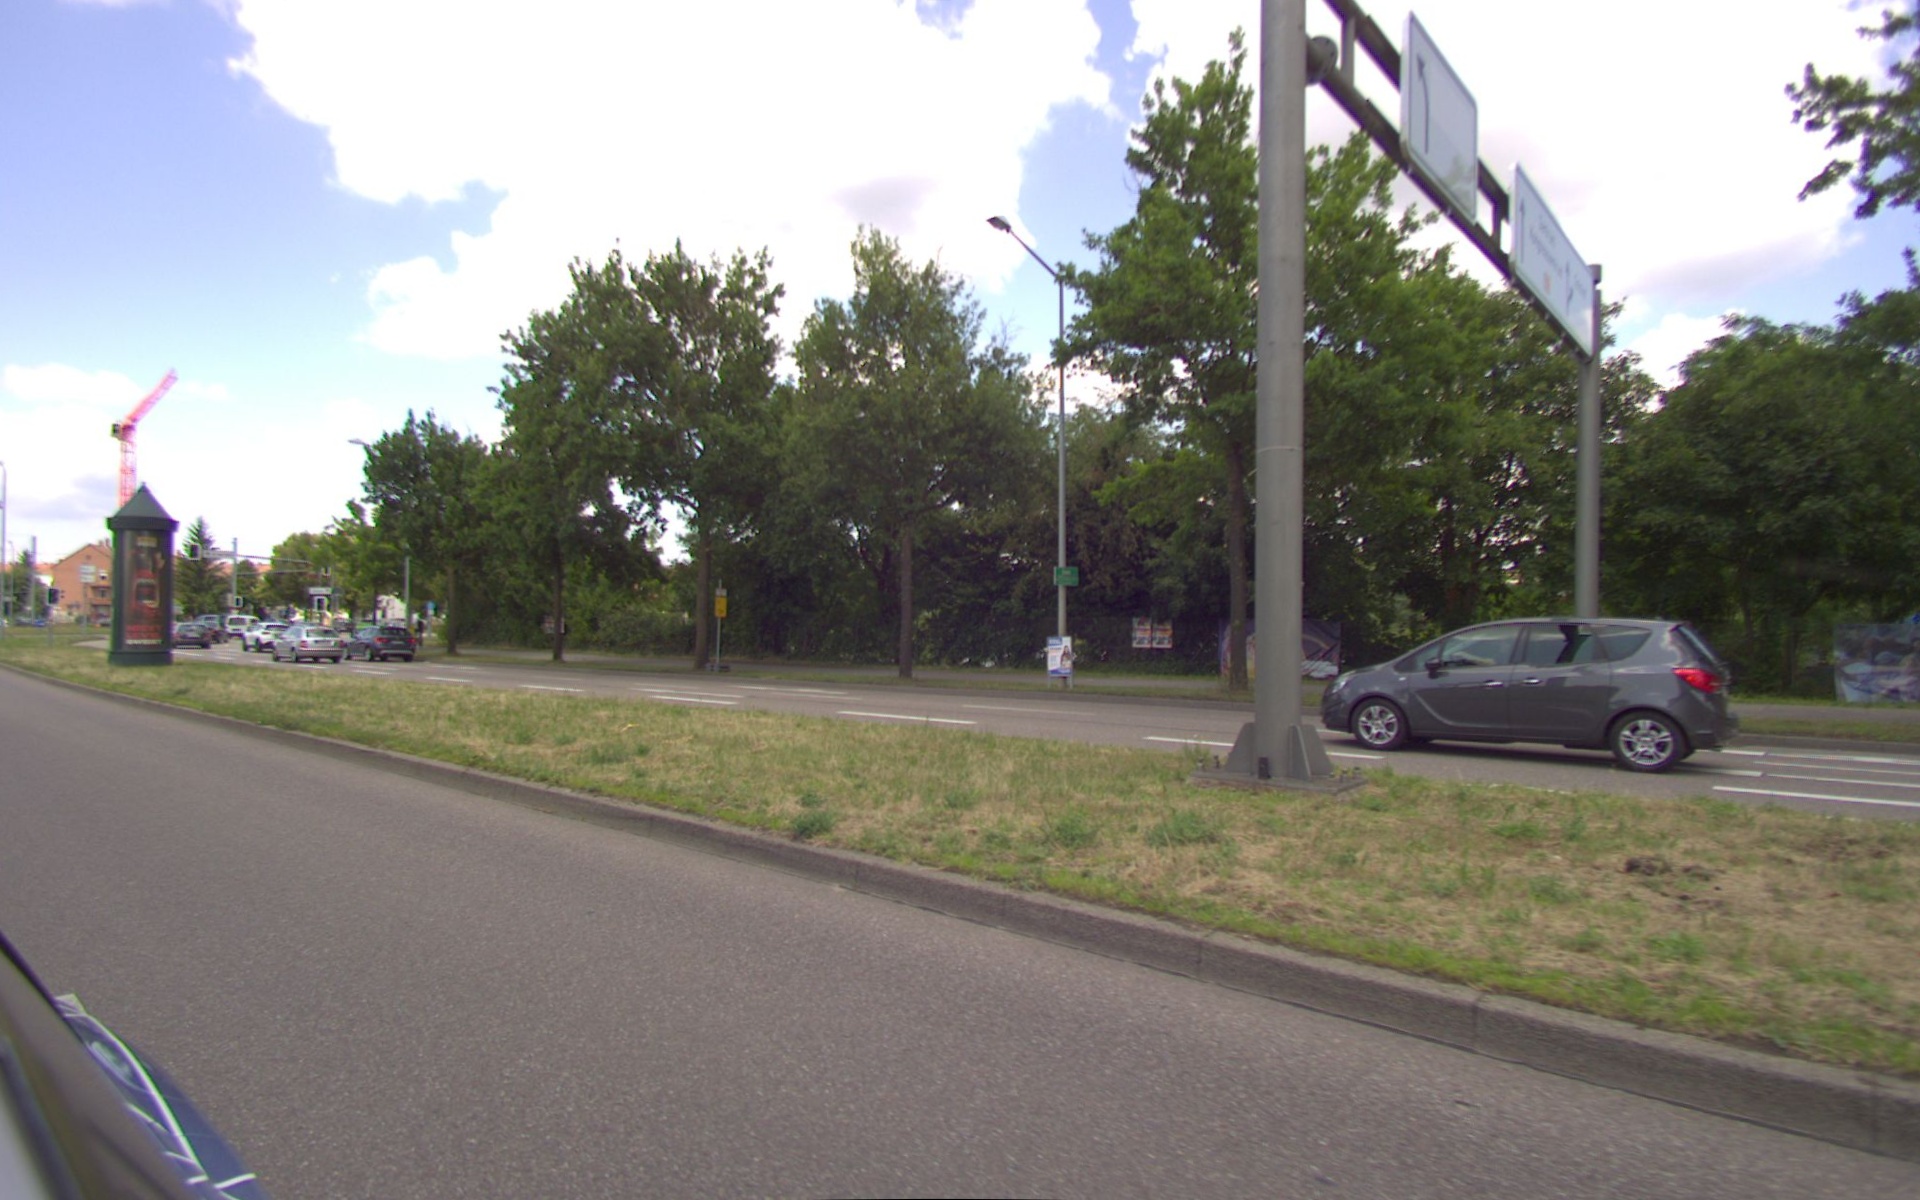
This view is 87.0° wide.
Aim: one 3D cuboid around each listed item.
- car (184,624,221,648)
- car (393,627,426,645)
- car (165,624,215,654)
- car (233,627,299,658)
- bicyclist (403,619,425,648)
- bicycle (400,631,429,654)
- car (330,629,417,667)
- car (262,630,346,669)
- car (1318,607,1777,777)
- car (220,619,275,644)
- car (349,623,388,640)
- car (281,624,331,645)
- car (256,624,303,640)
[{"bbox_3d":[-49.959,2.377,66.692,1.814,1.491,4.763,3,-3,-38],"label":"car"},{"bbox_3d":[-55.171,3.623,101.433,1.966,1.699,4.802,0,-1,-17],"label":"car"},{"bbox_3d":[-43.533,2.179,57.187,1.702,1.603,5.017,2,-3,-43],"label":"car"},{"bbox_3d":[-37.197,2.252,54.186,4.366,1.552,1.890,-1,-3,42],"label":"car"},{"bbox_3d":[-30.699,1.858,56.890,0.883,1.576,0.821,-1,0,41],"label":"bicyclist"},{"bbox_3d":[-30.674,2.370,56.893,2.016,1.228,0.753,-1,0,42],"label":"bicycle"},{"bbox_3d":[-25.656,2.059,44.205,5.029,1.589,1.745,-1,-3,41],"label":"car"},{"bbox_3d":[-26.177,1.942,40.331,4.308,1.451,1.744,-1,-3,42],"label":"car"},{"bbox_3d":[6.491,0.929,11.475,4.272,1.581,1.723,-1,-3,40],"label":"car"},{"bbox_3d":[-53.705,2.400,76.423,1.813,1.813,4.801,2,-2,-15],"label":"car"},{"bbox_3d":[-51.447,2.748,88.123,1.594,1.358,4.180,2,-2,-11],"label":"car"},{"bbox_3d":[-48.837,2.593,75.704,1.813,1.454,4.431,2,-2,-15],"label":"car"},{"bbox_3d":[-74.576,3.498,110.882,4.765,1.699,2.257,-1,-1,28],"label":"car"}]
